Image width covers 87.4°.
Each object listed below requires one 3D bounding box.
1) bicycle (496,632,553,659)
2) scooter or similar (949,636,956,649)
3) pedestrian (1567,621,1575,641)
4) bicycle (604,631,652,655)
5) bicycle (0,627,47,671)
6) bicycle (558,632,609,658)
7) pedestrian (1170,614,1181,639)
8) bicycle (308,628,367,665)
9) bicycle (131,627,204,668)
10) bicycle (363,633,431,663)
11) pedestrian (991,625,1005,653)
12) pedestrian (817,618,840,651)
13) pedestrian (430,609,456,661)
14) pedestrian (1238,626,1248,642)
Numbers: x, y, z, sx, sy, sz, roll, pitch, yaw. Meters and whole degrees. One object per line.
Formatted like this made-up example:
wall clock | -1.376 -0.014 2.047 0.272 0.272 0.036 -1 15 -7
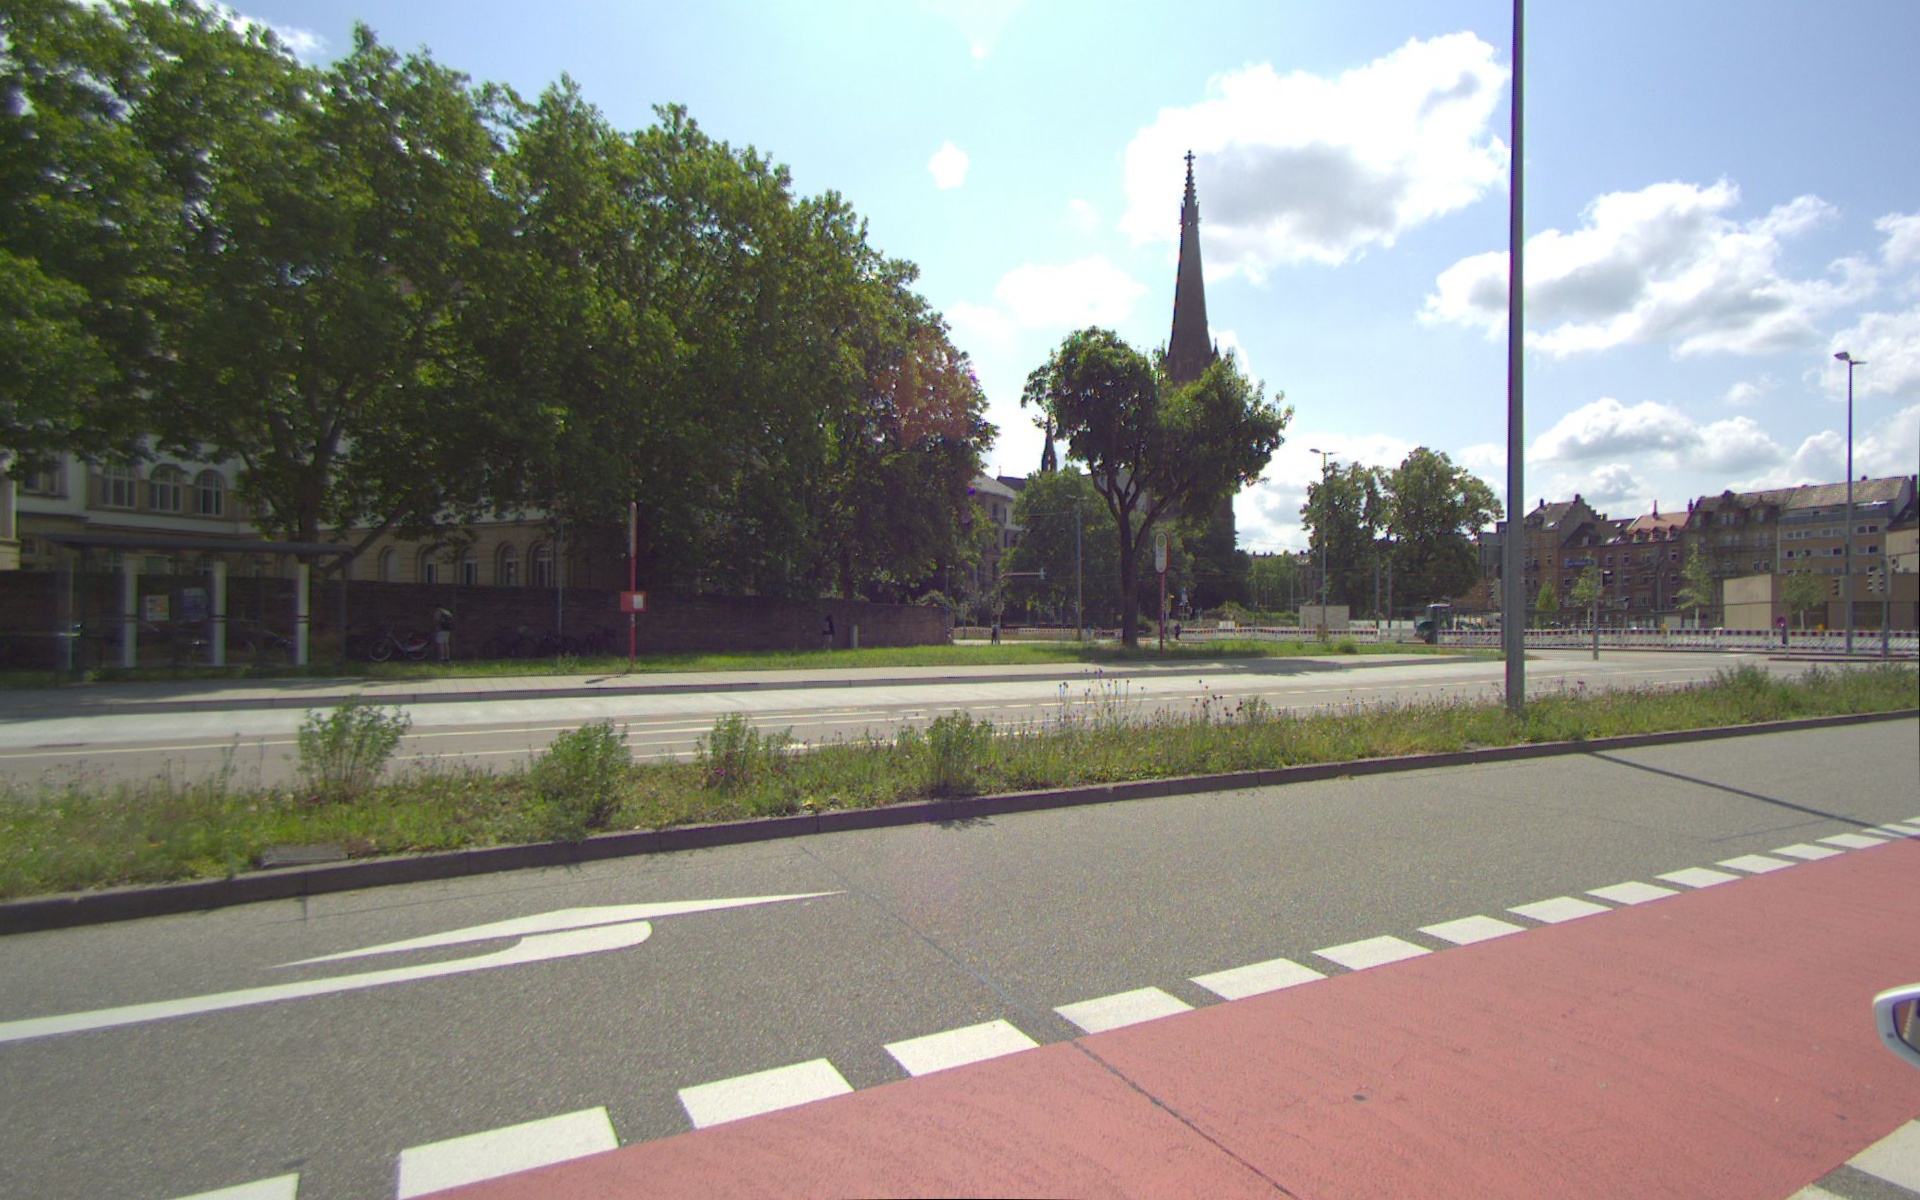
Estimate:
bicycle | -13.975 1.462 32.250 0.378 0.828 1.743 0 -1 36
scooter or similar | -0.436 2.473 58.976 0.117 0.721 1.005 0 -1 17
pedestrian | 51.596 2.641 84.792 0.409 1.674 0.425 2 0 4
bicycle | -11.773 1.522 35.674 0.324 0.828 1.743 0 -1 36
bicycle | -21.254 1.090 22.317 0.260 0.977 1.391 0 -1 36
bicycle | -12.777 1.521 34.147 0.324 0.828 1.743 0 -1 36
pedestrian | 17.905 2.224 83.527 0.625 2.040 0.643 1 -1 -32
bicycle | -17.157 1.264 27.708 0.260 0.977 1.391 0 -1 36
bicycle | -19.414 1.157 24.637 0.260 0.977 1.391 0 -1 36
bicycle | -16.237 1.379 29.005 0.324 0.828 1.743 0 -1 36
pedestrian | 2.827 2.871 74.731 0.713 2.040 0.721 1 -1 -32
pedestrian | -5.660 1.466 43.160 0.720 1.413 0.714 1 -1 -35
pedestrian | -15.083 1.005 29.317 0.627 1.492 0.506 1 -1 -32
pedestrian | 29.162 3.481 103.370 0.842 1.685 0.751 0 -1 29
